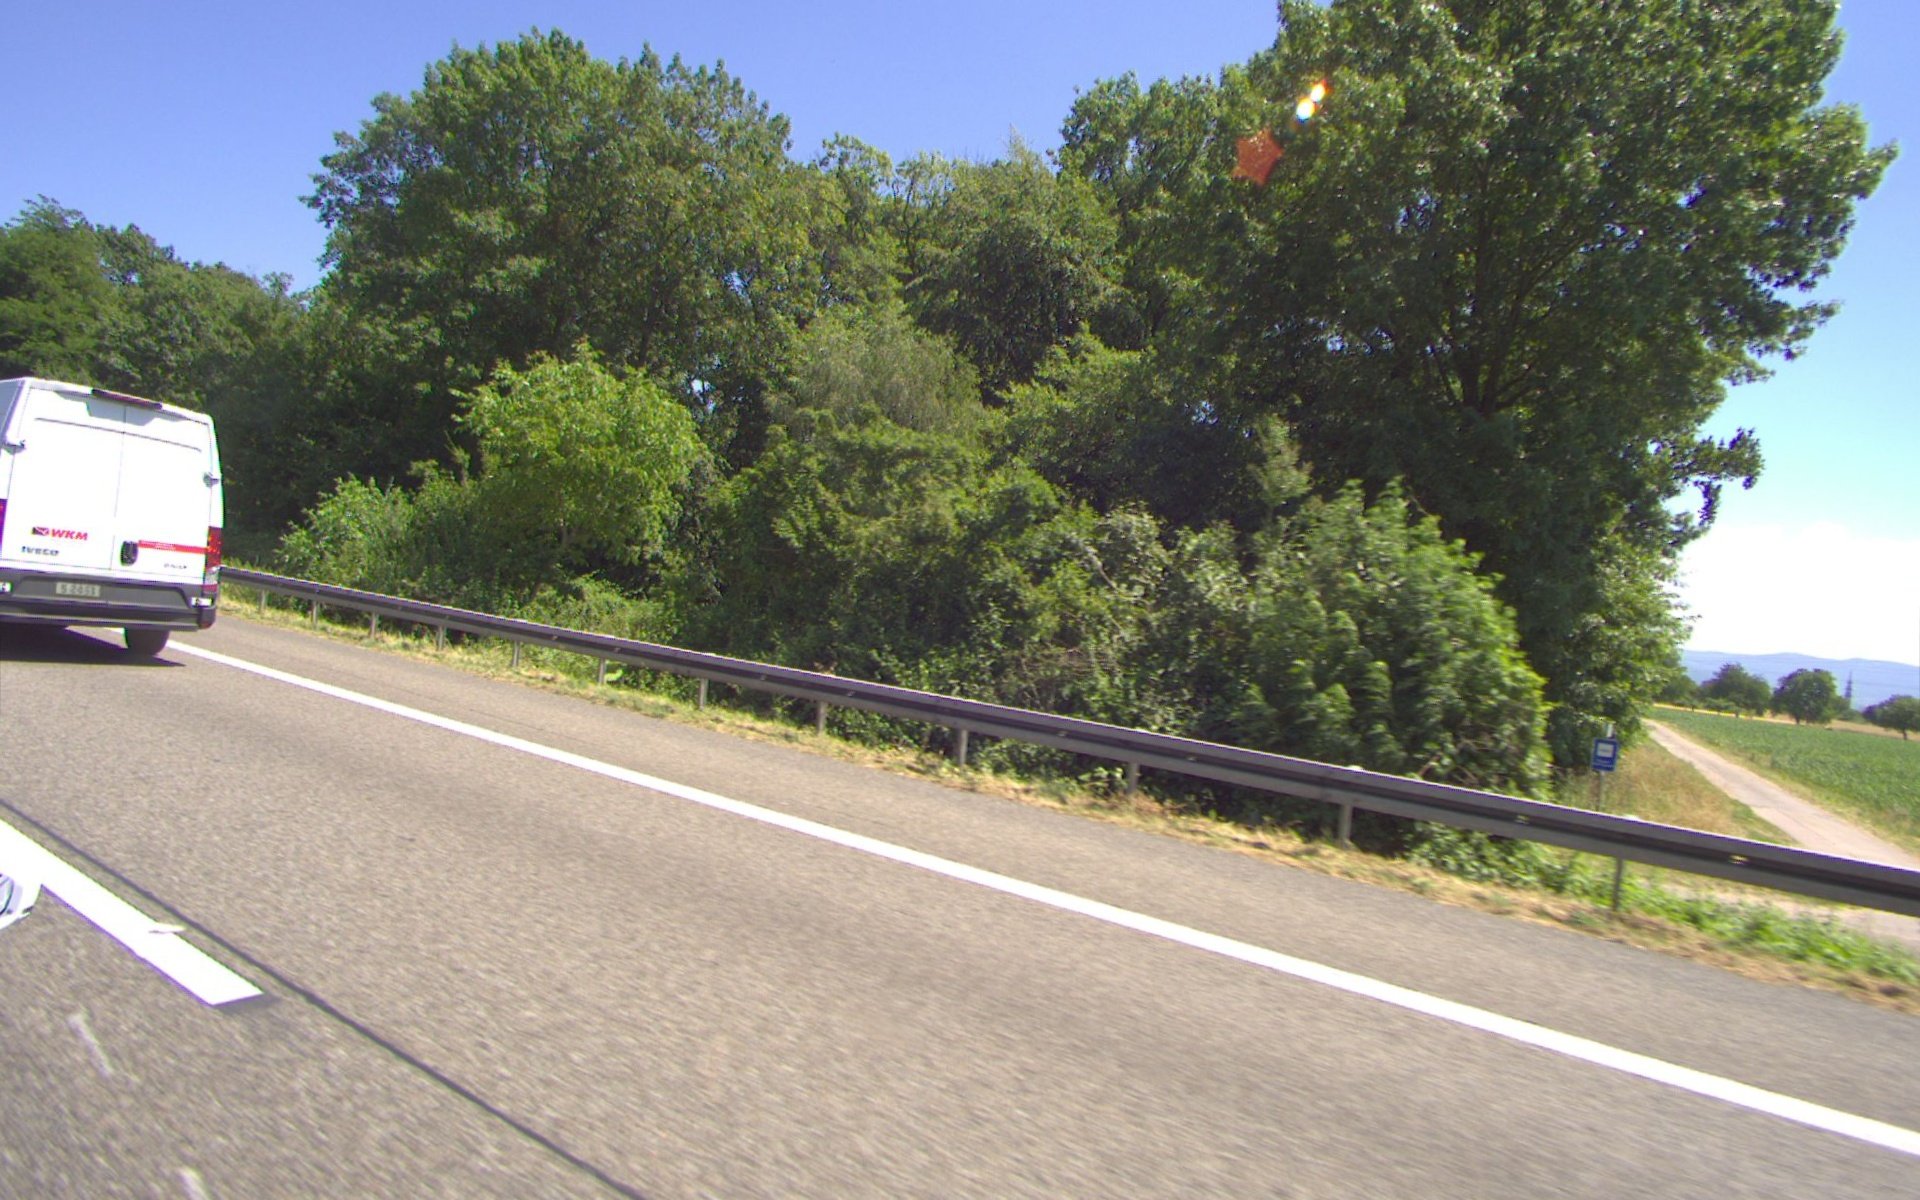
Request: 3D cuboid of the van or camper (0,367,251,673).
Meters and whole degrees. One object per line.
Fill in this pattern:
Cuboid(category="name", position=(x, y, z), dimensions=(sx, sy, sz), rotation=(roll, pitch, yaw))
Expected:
Cuboid(category="van or camper", position=(-10.904, -0.969, 11.472), dimensions=(6.379, 2.668, 2.026), rotation=(7, -1, 32))
